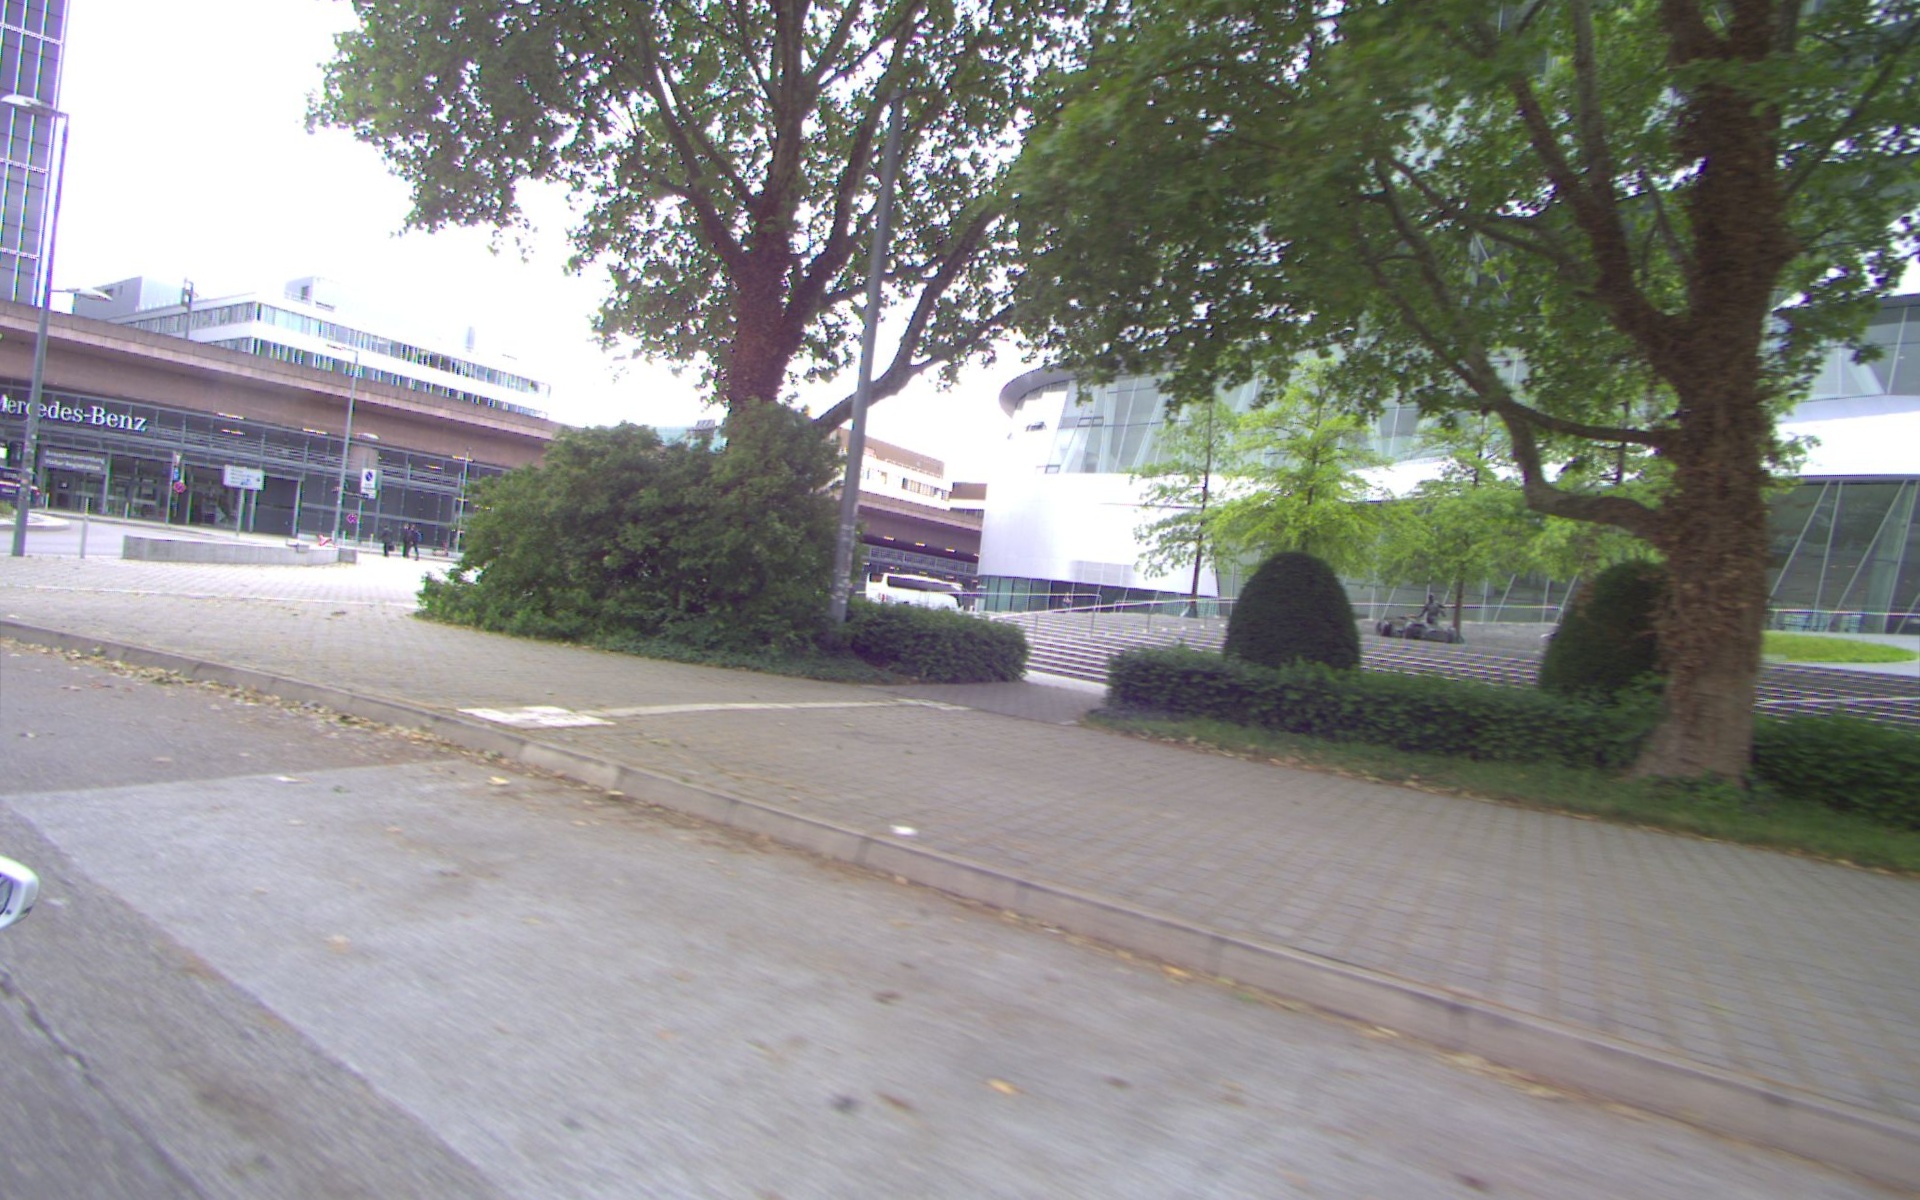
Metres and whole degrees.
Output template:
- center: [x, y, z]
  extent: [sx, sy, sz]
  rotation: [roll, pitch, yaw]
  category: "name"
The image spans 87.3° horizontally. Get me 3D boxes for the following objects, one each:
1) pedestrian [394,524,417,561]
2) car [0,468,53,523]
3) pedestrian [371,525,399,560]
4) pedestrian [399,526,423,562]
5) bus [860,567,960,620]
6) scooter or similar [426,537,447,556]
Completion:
- center: [-28.040, -2.891, 50.874]
  extent: [0.825, 1.762, 0.684]
  rotation: [7, 0, -32]
  category: "pedestrian"
- center: [-41.279, -4.620, 42.181]
  extent: [4.692, 2.038, 2.285]
  rotation: [7, -1, 10]
  category: "car"
- center: [-28.443, -2.827, 49.787]
  extent: [0.679, 1.589, 0.831]
  rotation: [7, 0, 33]
  category: "pedestrian"
- center: [-28.229, -2.874, 51.737]
  extent: [0.826, 1.762, 0.683]
  rotation: [7, 0, -36]
  category: "pedestrian"
- center: [-4.753, -0.547, 99.381]
  extent: [2.719, 3.981, 11.040]
  rotation: [7, -1, 40]
  category: "bus"
- center: [-38.911, -3.956, 74.807]
  extent: [0.351, 1.209, 1.227]
  rotation: [7, 0, 45]
  category: "scooter or similar"
